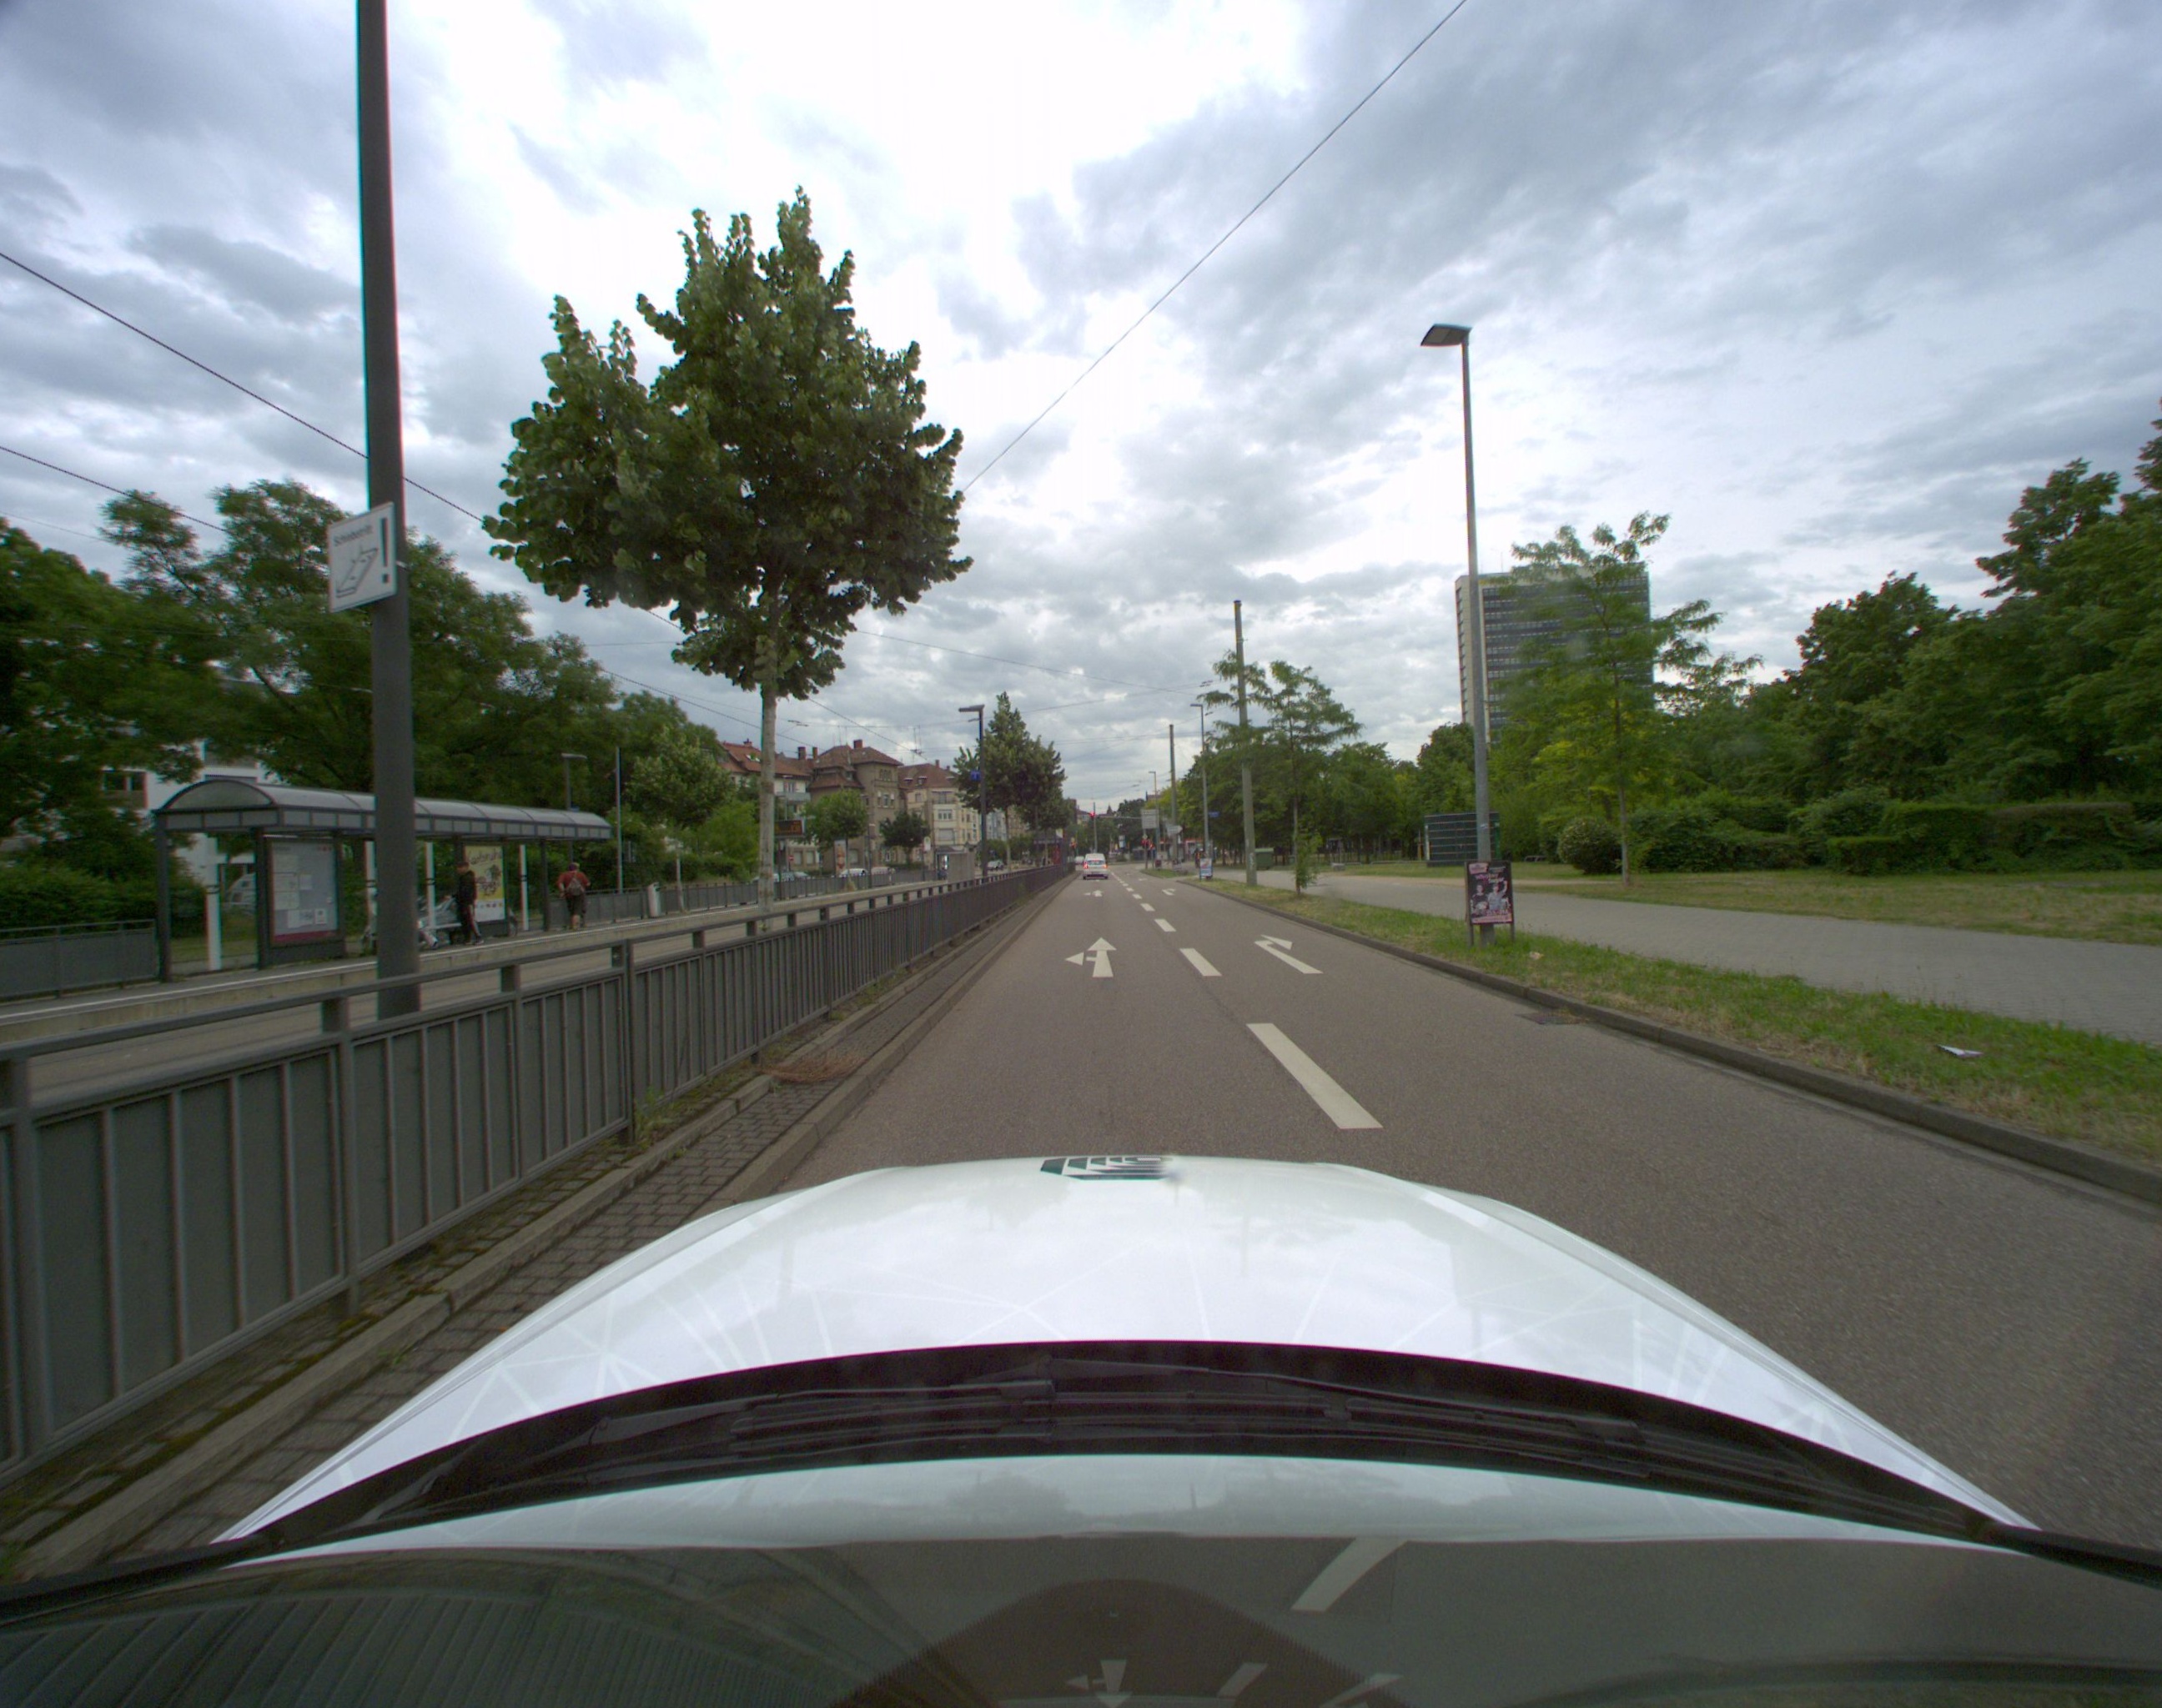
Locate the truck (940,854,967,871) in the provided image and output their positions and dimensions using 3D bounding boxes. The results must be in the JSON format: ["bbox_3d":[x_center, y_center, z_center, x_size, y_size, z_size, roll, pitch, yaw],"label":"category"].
[{"bbox_3d":[-16.306,1.082,104.434,1.778,2.032,5.407,-3,-1,7],"label":"truck"}]

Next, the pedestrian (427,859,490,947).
[{"bbox_3d":[-12.742,0.983,16.688,0.699,1.715,0.697,-3,-1,-8],"label":"pedestrian"}]

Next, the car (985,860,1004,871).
[{"bbox_3d":[-12.647,1.721,119.097,1.760,1.493,3.895,-3,-1,7],"label":"car"}]

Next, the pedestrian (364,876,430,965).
[{"bbox_3d":[-13.153,1.259,15.684,0.630,1.624,0.680,-3,-1,-1],"label":"pedestrian"}]

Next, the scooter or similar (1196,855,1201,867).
[{"bbox_3d":[11.380,0.636,78.775,0.373,1.141,1.203,-3,-1,12],"label":"scooter or similar"}]

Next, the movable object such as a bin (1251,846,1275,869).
[{"bbox_3d":[11.752,0.222,52.547,1.277,1.390,1.159,-3,-1,2],"label":"movable object such as a bin"}]

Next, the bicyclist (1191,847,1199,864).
[{"bbox_3d":[10.188,0.138,72.660,0.675,1.537,0.674,-3,-1,8],"label":"bicyclist"}]

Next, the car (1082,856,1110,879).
[{"bbox_3d":[1.046,0.899,56.596,1.775,1.472,4.012,-2,0,2],"label":"car"}]

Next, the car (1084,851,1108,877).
[{"bbox_3d":[1.185,0.769,64.509,1.776,1.962,4.382,-2,0,1],"label":"car"}]

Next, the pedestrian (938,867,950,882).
[{"bbox_3d":[-11.867,1.804,70.749,0.862,1.267,0.693,-3,-1,-2],"label":"pedestrian"}]

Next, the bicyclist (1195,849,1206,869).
[{"bbox_3d":[8.474,0.331,57.707,0.675,1.379,0.729,-3,-1,7],"label":"bicyclist"}]

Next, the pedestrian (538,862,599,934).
[{"bbox_3d":[-12.508,1.053,19.910,0.766,1.660,1.024,-3,-1,-2],"label":"pedestrian"}]

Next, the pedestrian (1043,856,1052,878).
[{"bbox_3d":[-2.251,0.859,54.711,0.574,1.481,0.617,-3,-1,-1],"label":"pedestrian"}]

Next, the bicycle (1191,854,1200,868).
[{"bbox_3d":[10.205,0.612,72.584,0.675,1.155,1.902,-3,0,8],"label":"bicycle"}]

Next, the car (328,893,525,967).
[{"bbox_3d":[-16.398,1.844,20.685,1.764,1.493,3.887,-3,-1,1],"label":"car"}]

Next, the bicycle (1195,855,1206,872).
[{"bbox_3d":[8.499,0.648,57.813,0.675,1.155,1.902,-3,0,7],"label":"bicycle"}]

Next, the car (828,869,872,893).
[{"bbox_3d":[-15.564,1.813,55.072,1.764,1.493,3.887,-3,-1,1],"label":"car"}]

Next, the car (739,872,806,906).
[{"bbox_3d":[-15.340,1.696,40.726,1.764,1.493,3.887,-3,-1,1],"label":"car"}]

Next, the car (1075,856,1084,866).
[{"bbox_3d":[-0.282,1.499,166.729,1.764,1.874,3.887,-3,-1,1],"label":"car"}]
